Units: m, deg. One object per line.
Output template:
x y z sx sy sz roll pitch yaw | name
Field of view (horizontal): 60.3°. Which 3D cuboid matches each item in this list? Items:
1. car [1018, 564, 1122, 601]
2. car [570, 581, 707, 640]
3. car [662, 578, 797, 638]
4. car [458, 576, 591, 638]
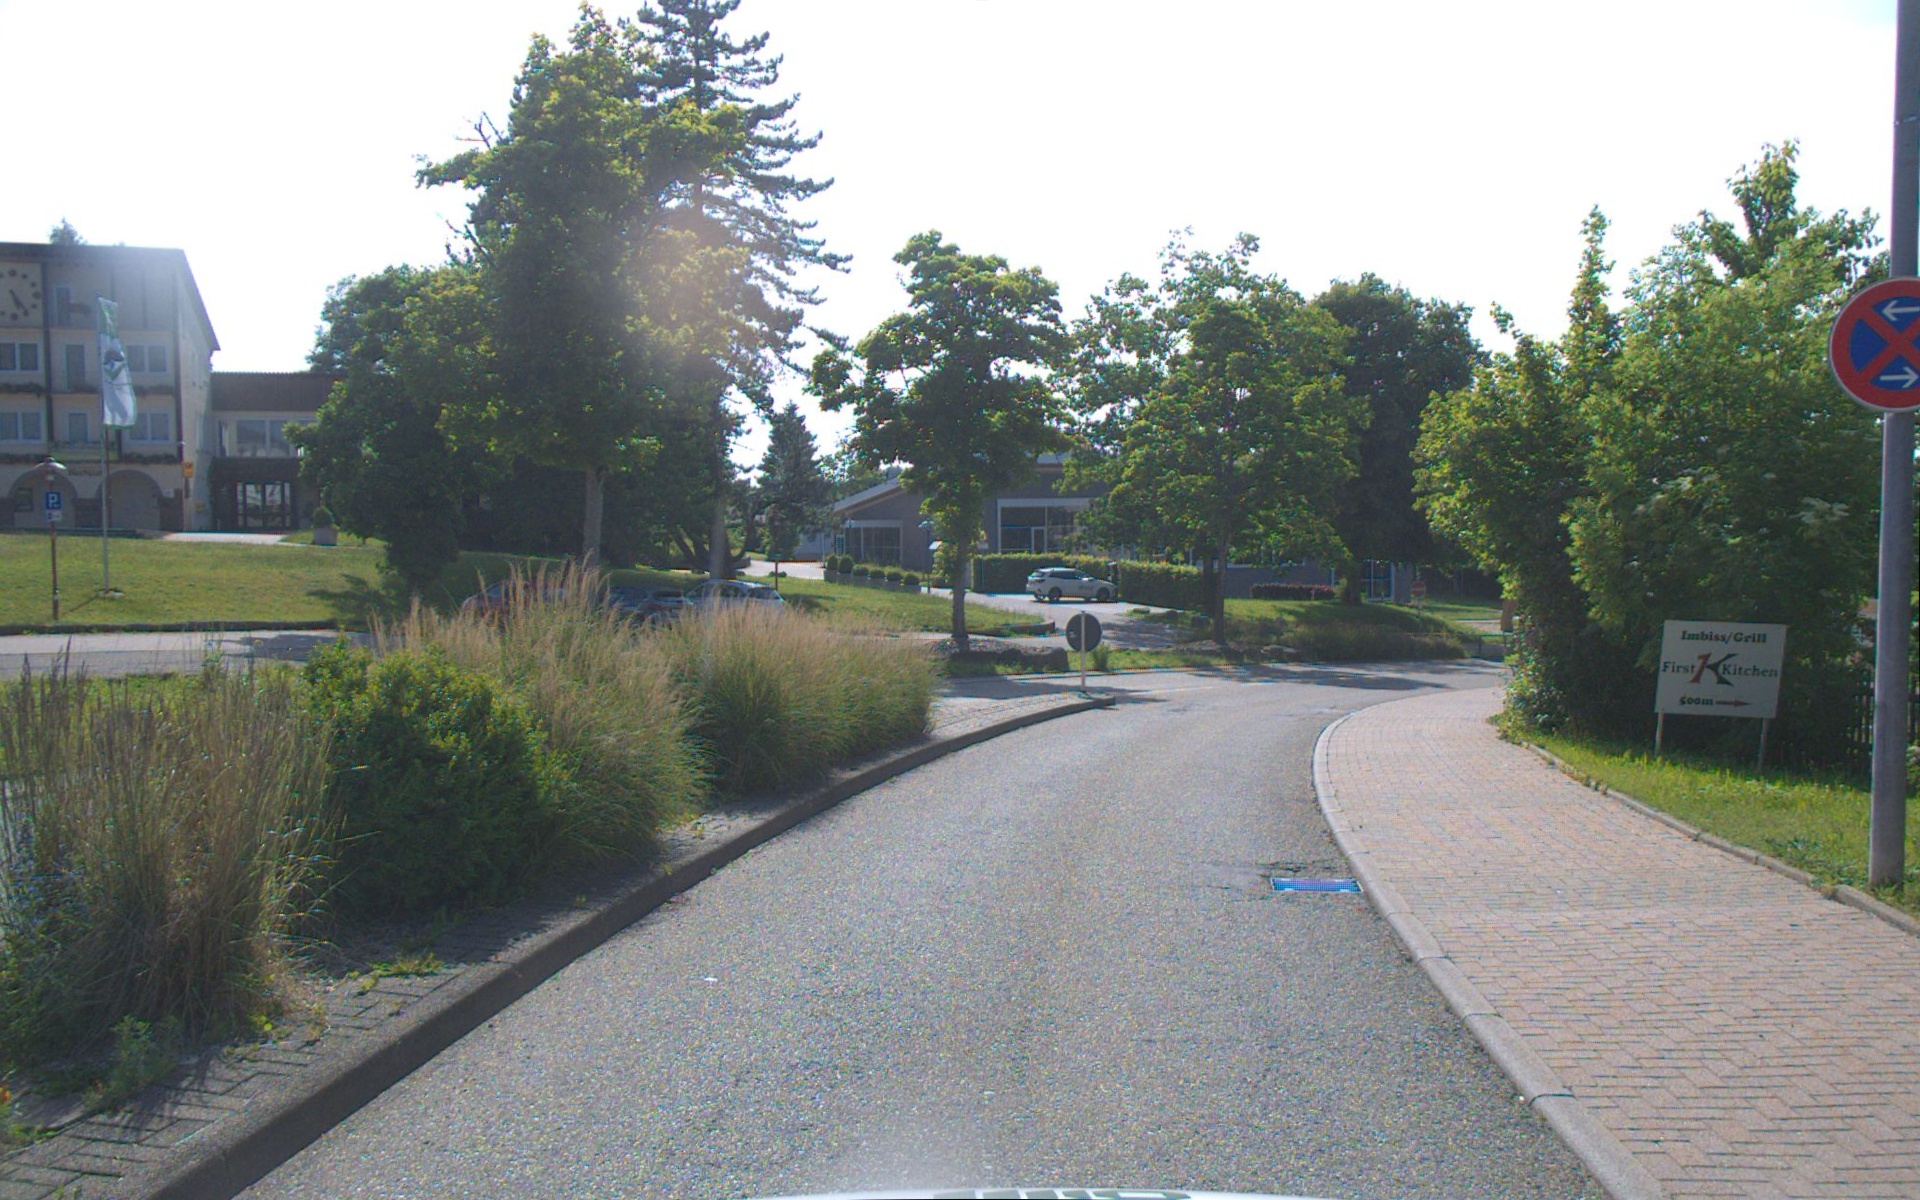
5.373 -0.880 80.836 4.650 1.560 1.988 -1 6 -23 | car
-9.134 0.289 46.903 3.639 1.458 1.770 3 1 35 | car
-7.044 0.235 50.355 3.862 1.637 1.770 3 1 35 | car
-11.715 0.184 44.481 3.142 1.496 1.771 3 1 34 | car
